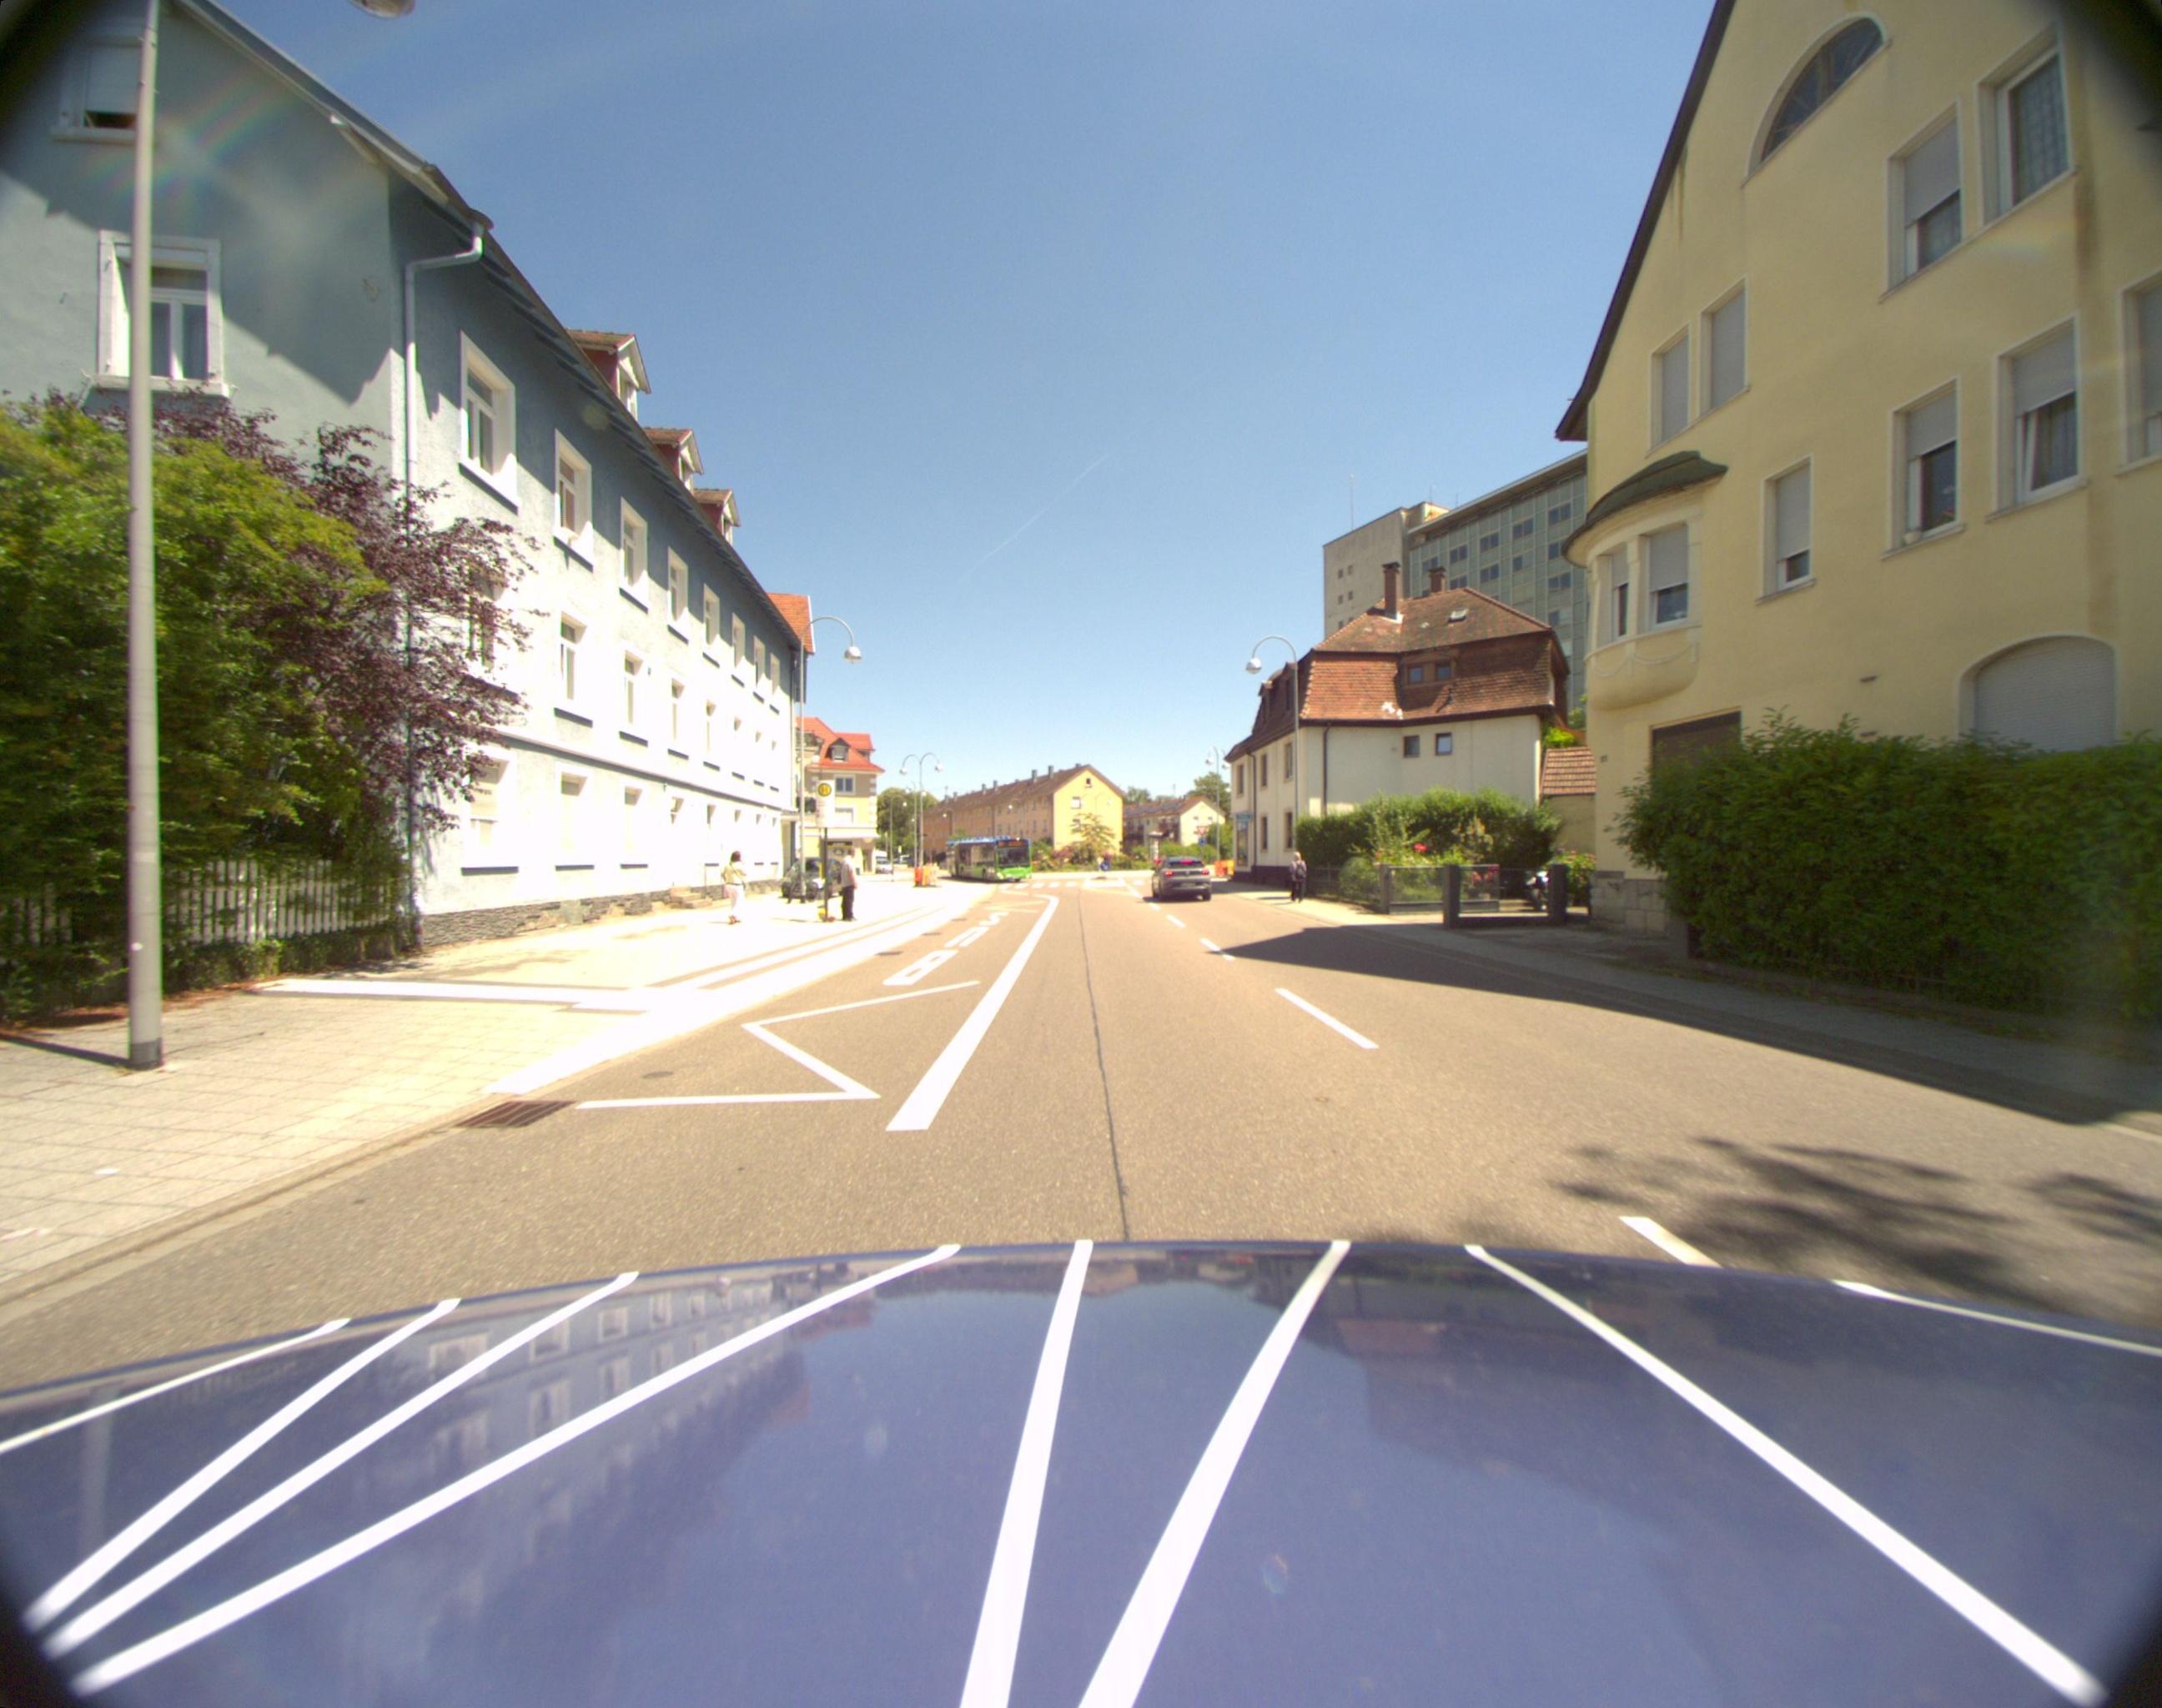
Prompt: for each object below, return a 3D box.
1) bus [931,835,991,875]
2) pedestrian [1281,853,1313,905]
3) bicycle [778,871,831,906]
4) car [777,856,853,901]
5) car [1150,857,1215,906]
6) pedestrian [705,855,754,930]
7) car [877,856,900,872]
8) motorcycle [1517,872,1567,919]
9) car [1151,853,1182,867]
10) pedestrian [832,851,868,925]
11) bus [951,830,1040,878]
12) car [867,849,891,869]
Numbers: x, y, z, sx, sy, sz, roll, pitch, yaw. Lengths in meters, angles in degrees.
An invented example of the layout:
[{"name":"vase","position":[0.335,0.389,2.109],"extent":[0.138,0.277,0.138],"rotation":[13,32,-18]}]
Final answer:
[{"name":"bus","position":[-10.660,0.206,66.076],"extent":[2.933,3.043,12.543],"rotation":[-2,0,-19]},{"name":"pedestrian","position":[6.813,0.777,24.001],"extent":[0.615,1.555,0.824],"rotation":[-6,1,-2]},{"name":"bicycle","position":[-8.822,1.077,24.290],"extent":[0.632,1.033,1.885],"rotation":[3,0,13]},{"name":"car","position":[-9.842,0.868,28.381],"extent":[1.763,1.505,3.739],"rotation":[3,0,-5]},{"name":"car","position":[3.713,0.964,28.541],"extent":[1.858,1.607,4.296],"rotation":[-1,0,0]},{"name":"pedestrian","position":[-7.793,0.844,16.871],"extent":[0.615,1.606,0.751],"rotation":[2,0,10]},{"name":"car","position":[-19.462,0.982,76.755],"extent":[1.829,1.402,3.992],"rotation":[2,1,-20]},{"name":"motorcycle","position":[12.193,1.062,20.084],"extent":[0.714,1.099,2.149],"rotation":[0,0,42]},{"name":"car","position":[9.781,0.673,86.568],"extent":[1.731,1.592,3.944],"rotation":[-1,0,38]},{"name":"pedestrian","position":[-5.844,0.853,19.177],"extent":[0.751,1.794,0.614],"rotation":[3,1,-21]},{"name":"bus","position":[-6.538,0.127,55.406],"extent":[2.916,3.062,12.539],"rotation":[-2,0,-23]},{"name":"car","position":[-26.146,0.637,98.230],"extent":[2.345,2.442,5.724],"rotation":[2,-1,-21]}]
